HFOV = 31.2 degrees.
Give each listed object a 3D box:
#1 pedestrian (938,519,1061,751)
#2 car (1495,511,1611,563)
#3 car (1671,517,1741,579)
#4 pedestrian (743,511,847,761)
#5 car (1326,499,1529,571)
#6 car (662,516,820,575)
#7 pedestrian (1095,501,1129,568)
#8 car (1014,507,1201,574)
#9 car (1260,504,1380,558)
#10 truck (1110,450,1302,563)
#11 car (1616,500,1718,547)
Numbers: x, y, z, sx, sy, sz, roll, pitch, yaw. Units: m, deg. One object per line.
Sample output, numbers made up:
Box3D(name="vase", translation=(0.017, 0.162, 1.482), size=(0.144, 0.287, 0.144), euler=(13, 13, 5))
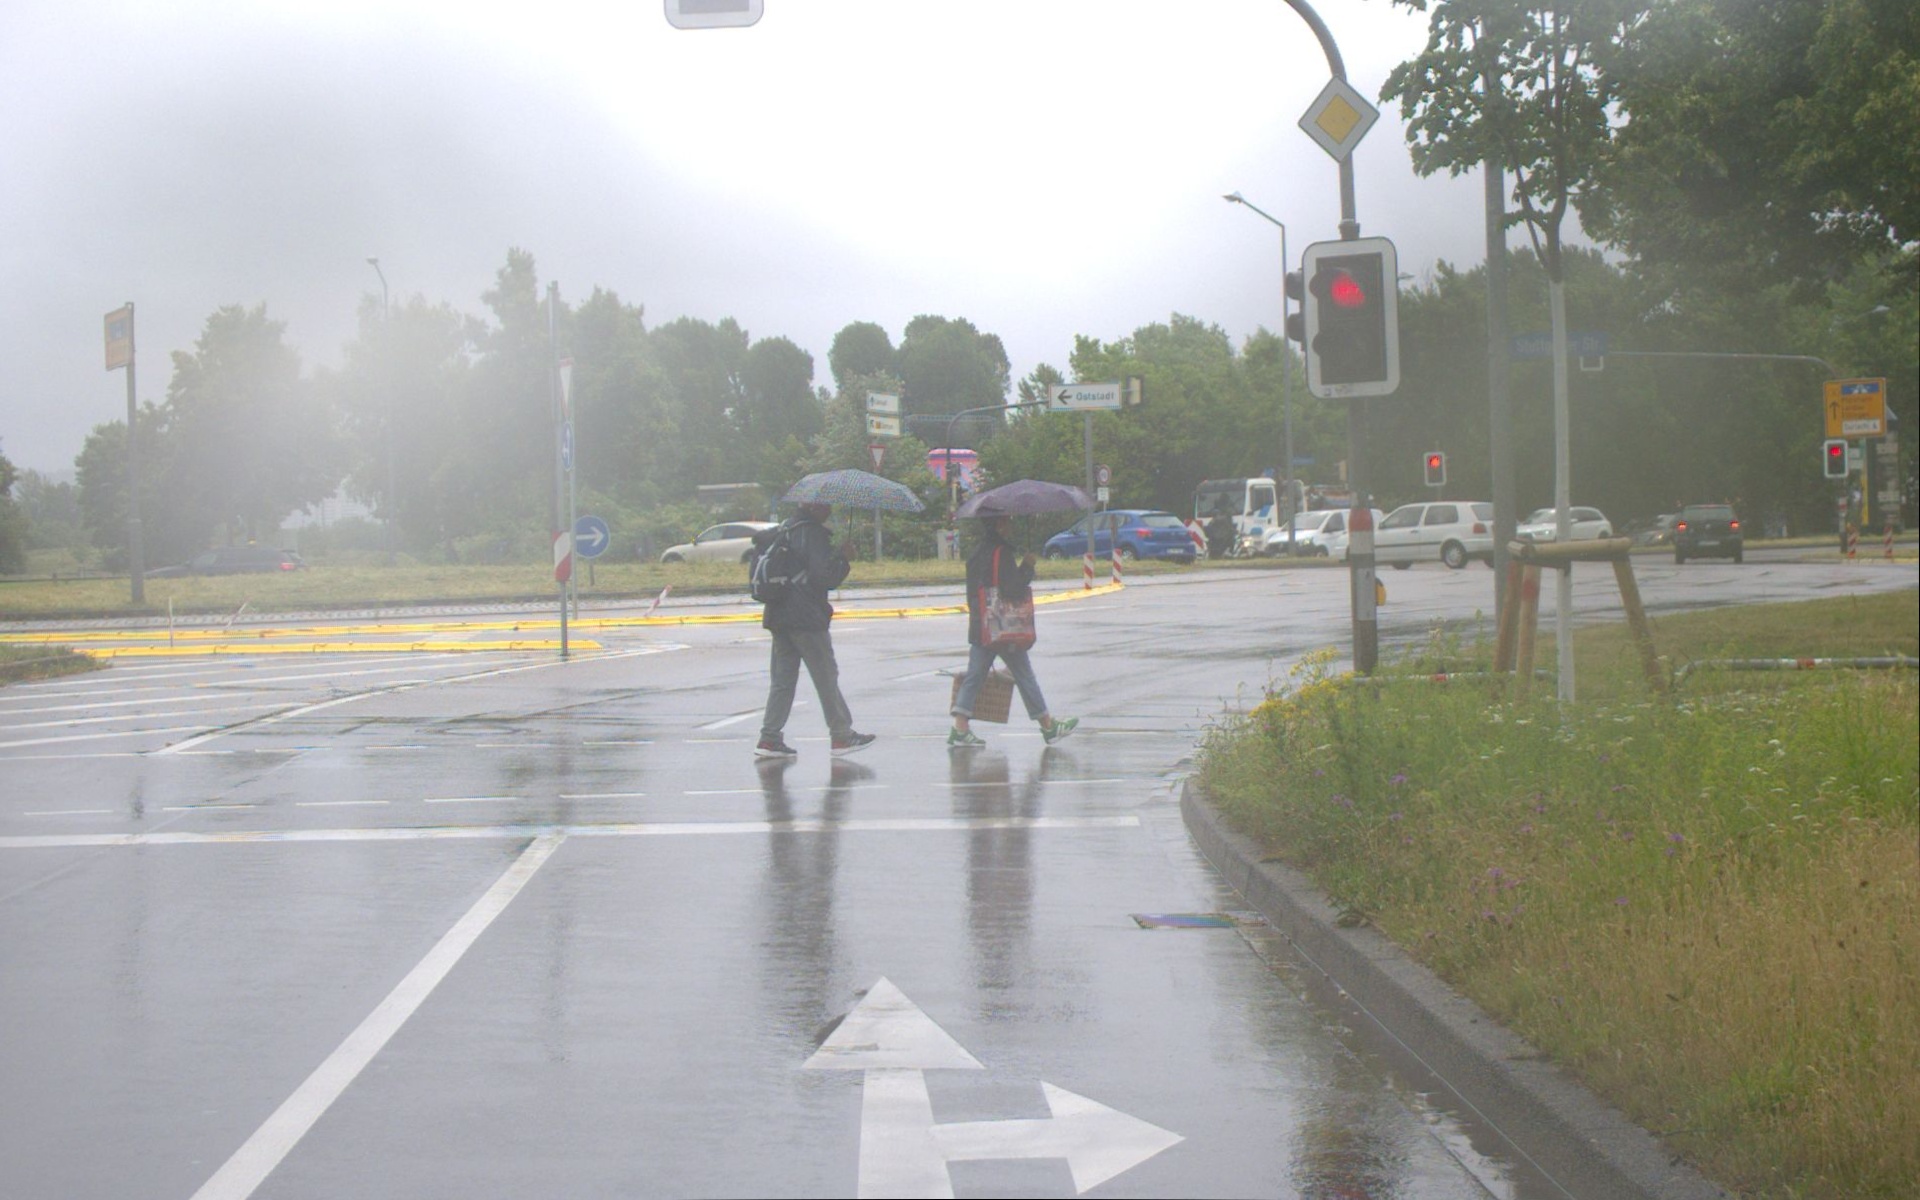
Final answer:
Box3D(name="pedestrian", translation=(0.251, 0.222, 22.260), size=(0.680, 1.456, 0.573), euler=(-2, 0, -5))
Box3D(name="car", translation=(19.851, -2.104, 114.999), size=(1.800, 1.656, 4.399), euler=(1, 0, 40))
Box3D(name="car", translation=(18.364, -1.292, 84.752), size=(1.619, 1.449, 3.986), euler=(-1, 1, 11))
Box3D(name="pedestrian", translation=(-1.014, 0.212, 21.239), size=(0.621, 1.517, 0.741), euler=(0, 1, -2))
Box3D(name="car", translation=(9.864, -1.372, 72.692), size=(3.984, 1.449, 1.620), euler=(0, 2, 41))
Box3D(name="car", translation=(-5.678, -1.399, 88.884), size=(4.109, 1.449, 1.620), euler=(0, 2, 42))
Box3D(name="pedestrian", translation=(3.008, -1.300, 68.027), size=(0.453, 1.300, 0.485), euler=(0, 2, 38))
Box3D(name="car", translation=(3.331, -1.345, 78.097), size=(3.982, 1.449, 1.620), euler=(0, 2, 36))
Box3D(name="car", translation=(11.540, -2.193, 110.022), size=(1.800, 1.656, 4.124), euler=(1, 0, 40))
Box3D(name="truck", translation=(6.358, -2.333, 87.646), size=(2.464, 2.677, 8.050), euler=(1, 0, 22))
Box3D(name="car", translation=(26.422, -2.861, 128.425), size=(1.800, 1.656, 4.399), euler=(0, 2, 40))
